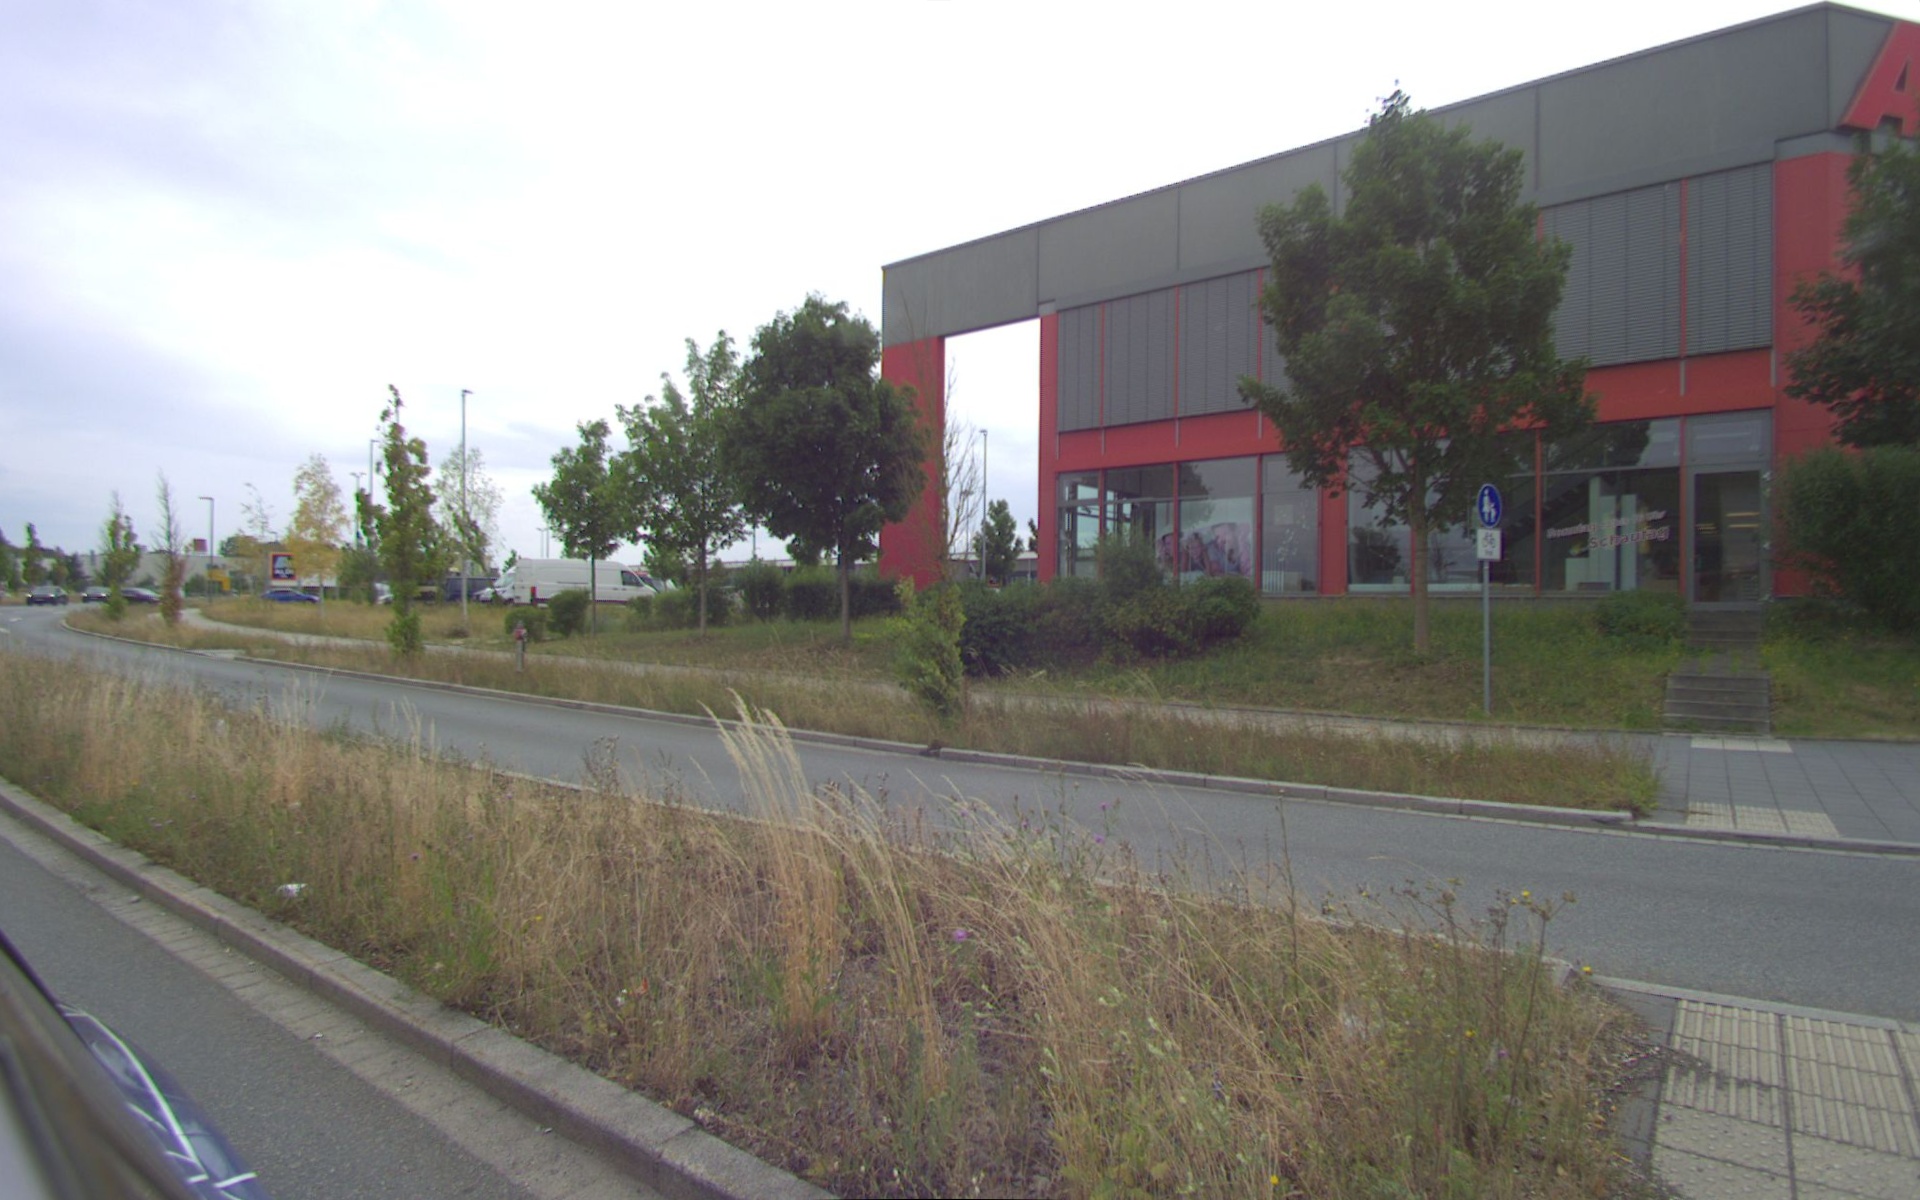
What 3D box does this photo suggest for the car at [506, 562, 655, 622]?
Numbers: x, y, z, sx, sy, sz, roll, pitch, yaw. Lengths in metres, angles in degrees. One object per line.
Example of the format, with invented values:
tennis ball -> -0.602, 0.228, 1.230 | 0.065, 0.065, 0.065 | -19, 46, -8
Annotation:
car -> -17.615, -0.411, 47.277 | 2.064, 2.643, 6.332 | 1, 1, 41

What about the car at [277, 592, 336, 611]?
car -> -53.005, 0.129, 82.135 | 3.931, 1.524, 1.740 | 1, -1, -29

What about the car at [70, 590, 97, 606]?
car -> -88.533, -0.215, 102.197 | 1.969, 1.586, 4.006 | -1, 1, -41

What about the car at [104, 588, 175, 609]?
car -> -62.533, -0.142, 77.216 | 3.932, 1.586, 2.006 | 0, 1, -32

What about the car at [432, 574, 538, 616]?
car -> -26.470, -0.234, 56.511 | 2.066, 2.240, 4.983 | 0, -1, 45

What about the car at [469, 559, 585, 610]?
car -> -21.510, -0.773, 50.482 | 2.062, 2.390, 4.993 | 1, 1, 38

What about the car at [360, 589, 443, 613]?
car -> -40.990, 0.074, 74.364 | 4.980, 1.669, 2.067 | 1, -1, -43

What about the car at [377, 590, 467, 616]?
car -> -36.373, 0.231, 68.471 | 4.980, 1.669, 2.067 | 1, -1, -43

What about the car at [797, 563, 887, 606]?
car -> -6.818, -0.894, 58.305 | 5.044, 2.390, 2.041 | 1, 1, 34

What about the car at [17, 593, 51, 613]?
car -> -76.228, 0.214, 83.333 | 1.969, 1.586, 4.006 | -1, 1, -41
